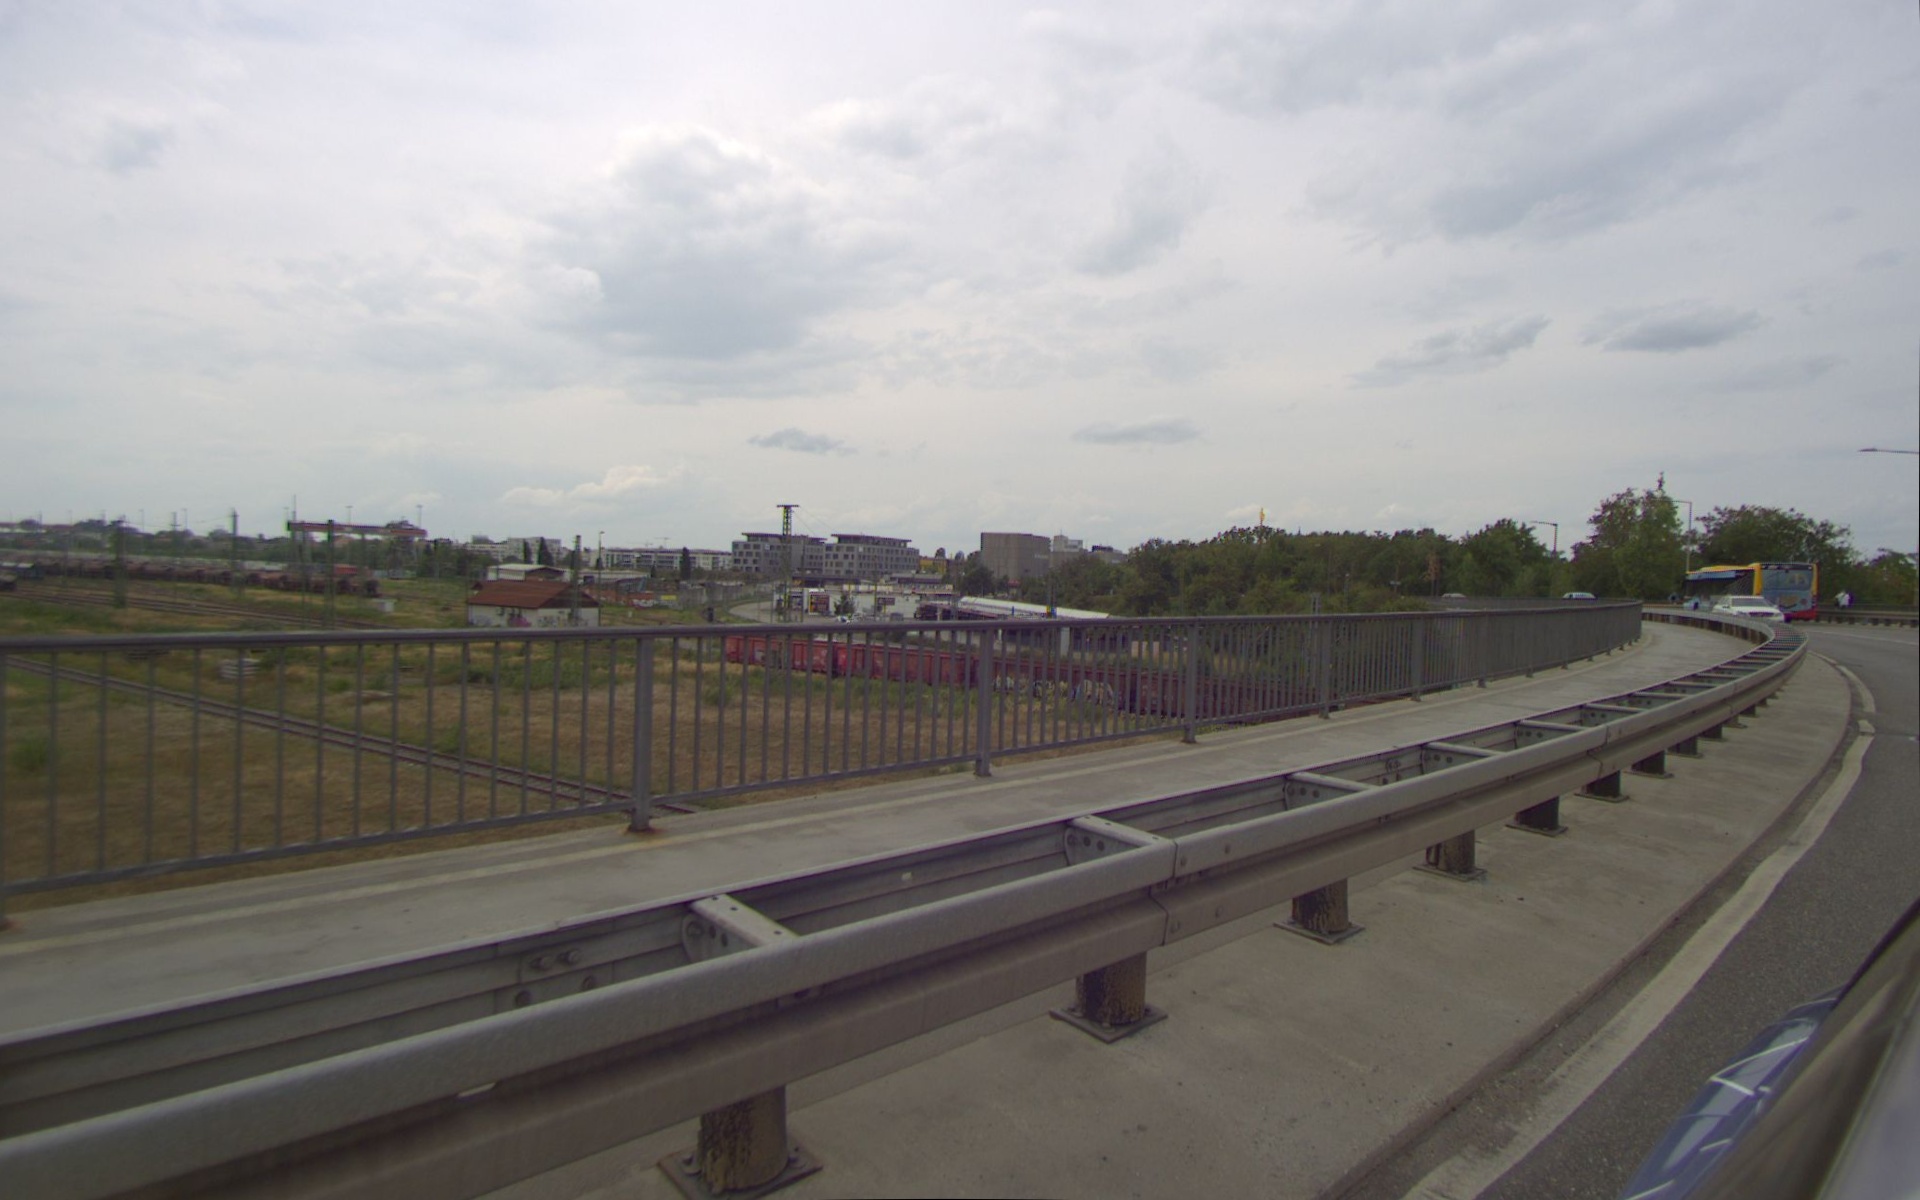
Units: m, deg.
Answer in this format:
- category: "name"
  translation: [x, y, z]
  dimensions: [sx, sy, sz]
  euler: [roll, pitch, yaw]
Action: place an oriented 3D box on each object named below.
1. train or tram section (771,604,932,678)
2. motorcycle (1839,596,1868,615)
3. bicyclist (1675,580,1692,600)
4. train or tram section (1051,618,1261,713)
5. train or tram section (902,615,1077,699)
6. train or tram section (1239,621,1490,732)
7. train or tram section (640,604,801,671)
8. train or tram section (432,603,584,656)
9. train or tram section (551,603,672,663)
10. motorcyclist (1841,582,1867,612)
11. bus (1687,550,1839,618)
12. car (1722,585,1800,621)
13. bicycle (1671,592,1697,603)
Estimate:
- category: "train or tram section"
  translation: [-9.498, 3.290, 86.558]
  dimensions: [14.919, 5.748, 3.927]
  euler: [0, 1, 36]
- category: "motorcycle"
  translation: [47.185, 0.296, 53.458]
  dimensions: [0.621, 0.975, 1.824]
  euler: [0, 1, 25]
- category: "bicyclist"
  translation: [53.672, -0.712, 75.099]
  dimensions: [0.700, 1.463, 0.747]
  euler: [0, -1, 5]
- category: "train or tram section"
  translation: [13.147, 4.220, 69.508]
  dimensions: [14.183, 5.669, 3.608]
  euler: [0, 1, 39]
- category: "train or tram section"
  translation: [2.052, 4.154, 78.117]
  dimensions: [13.825, 5.749, 3.794]
  euler: [0, 1, 36]
- category: "train or tram section"
  translation: [23.887, 4.291, 60.687]
  dimensions: [13.585, 5.644, 3.601]
  euler: [0, 1, 40]
- category: "train or tram section"
  translation: [-23.046, 3.331, 96.154]
  dimensions: [18.154, 5.713, 3.911]
  euler: [0, 1, 35]
- category: "train or tram section"
  translation: [-53.041, 3.174, 117.780]
  dimensions: [25.533, 5.549, 3.942]
  euler: [0, 1, 36]
- category: "train or tram section"
  translation: [-36.628, 3.261, 105.812]
  dimensions: [15.466, 5.695, 3.755]
  euler: [0, 1, 36]
- category: "motorcyclist"
  translation: [47.155, -0.151, 53.386]
  dimensions: [0.803, 1.548, 0.818]
  euler: [0, 0, 24]
- category: "bus"
  translation: [43.263, -0.878, 55.134]
  dimensions: [3.007, 3.274, 12.854]
  euler: [0, 1, 22]
- category: "car"
  translation: [34.698, 0.108, 43.948]
  dimensions: [1.920, 1.475, 3.849]
  euler: [0, 0, 27]
- category: "bicycle"
  translation: [53.660, -0.175, 75.010]
  dimensions: [0.682, 0.808, 1.890]
  euler: [0, 0, 5]
